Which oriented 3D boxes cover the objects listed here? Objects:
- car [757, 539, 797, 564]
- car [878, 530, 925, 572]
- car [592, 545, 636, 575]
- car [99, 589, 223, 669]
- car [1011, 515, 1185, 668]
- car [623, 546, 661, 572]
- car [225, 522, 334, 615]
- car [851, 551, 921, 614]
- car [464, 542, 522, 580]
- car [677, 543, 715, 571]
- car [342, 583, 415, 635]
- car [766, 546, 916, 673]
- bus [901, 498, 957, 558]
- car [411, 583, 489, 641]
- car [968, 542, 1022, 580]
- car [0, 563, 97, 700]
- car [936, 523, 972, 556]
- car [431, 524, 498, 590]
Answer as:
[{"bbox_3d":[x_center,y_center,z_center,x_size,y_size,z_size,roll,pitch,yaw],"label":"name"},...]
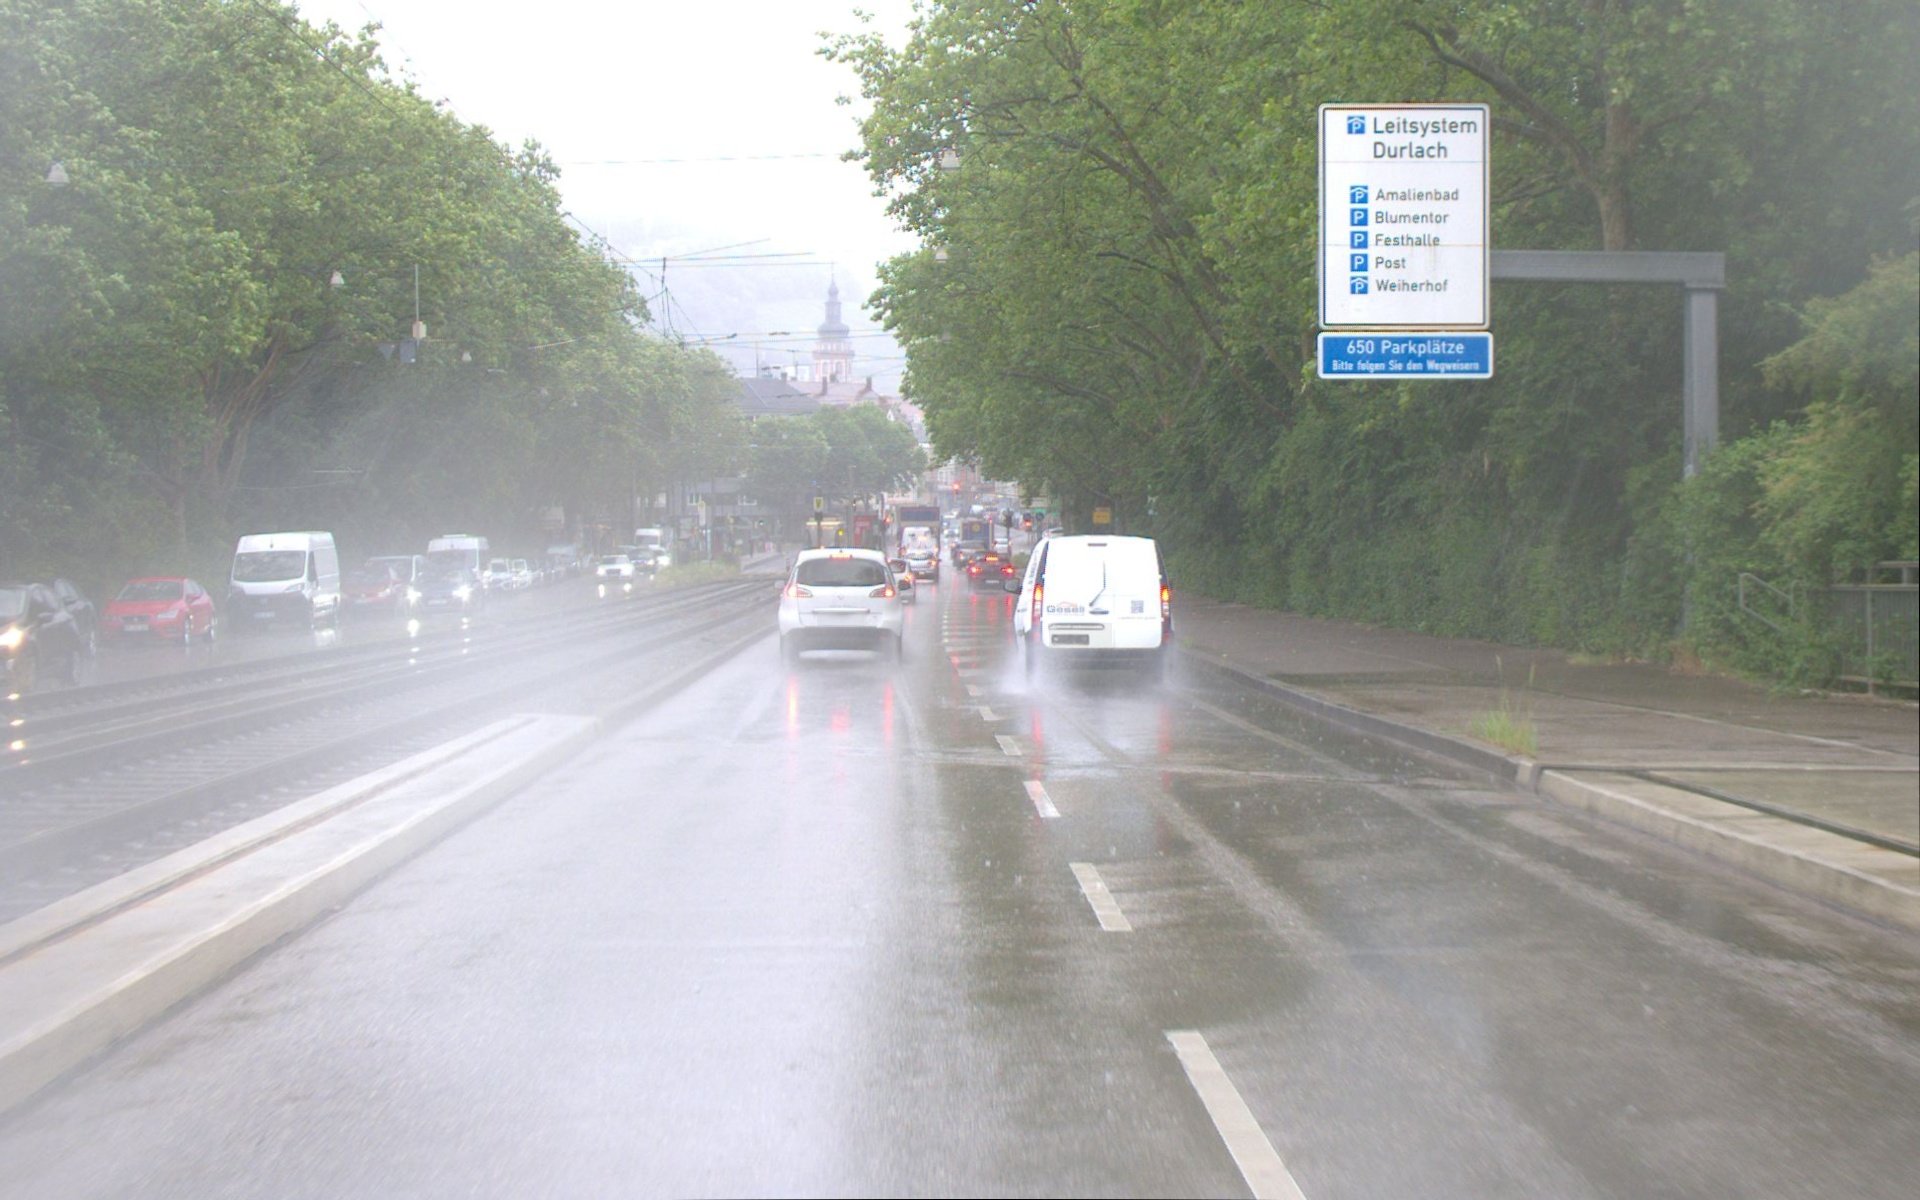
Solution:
[{"bbox_3d":[-10.865,-2.897,204.492,1.805,1.345,4.263,-2,2,4],"label":"car"},{"bbox_3d":[-2.656,-2.248,156.465,1.993,1.820,4.000,1,2,1],"label":"car"},{"bbox_3d":[-17.284,-2.022,171.792,1.805,1.345,4.264,-3,2,-1],"label":"car"},{"bbox_3d":[-16.647,0.577,71.782,1.609,1.437,4.262,-3,2,-1],"label":"car"},{"bbox_3d":[1.635,-0.144,41.977,1.993,1.720,4.000,1,2,1],"label":"car"},{"bbox_3d":[-18.284,-2.348,197.593,1.805,1.345,4.264,-3,2,-1],"label":"car"},{"bbox_3d":[-17.268,-0.842,87.433,1.741,2.162,5.815,-3,2,-2],"label":"car"},{"bbox_3d":[-2.285,-0.566,106.786,1.993,1.820,4.000,1,2,1],"label":"car"},{"bbox_3d":[-18.936,-1.592,139.501,1.805,1.345,4.264,-3,2,-1],"label":"car"},{"bbox_3d":[-14.463,-2.377,188.480,1.805,1.345,4.264,-3,2,-2],"label":"car"},{"bbox_3d":[-17.388,0.259,102.967,1.506,1.345,4.027,-3,2,-1],"label":"car"},{"bbox_3d":[-1.712,0.107,50.683,1.993,1.711,4.000,1,2,1],"label":"car"},{"bbox_3d":[-2.044,-4.838,229.058,3.389,3.823,9.739,1,2,1],"label":"bus"},{"bbox_3d":[-14.446,0.319,97.564,1.506,1.396,4.708,-3,2,0],"label":"car"},{"bbox_3d":[1.349,-1.491,129.645,1.993,1.316,4.000,1,2,1],"label":"car"},{"bbox_3d":[-12.548,0.357,44.306,1.816,1.363,4.266,1,5,0],"label":"car"},{"bbox_3d":[-0.347,-3.530,198.659,1.993,1.820,4.000,1,2,1],"label":"car"},{"bbox_3d":[-18.011,-1.587,125.103,1.800,2.214,4.278,-3,2,-1],"label":"car"}]
